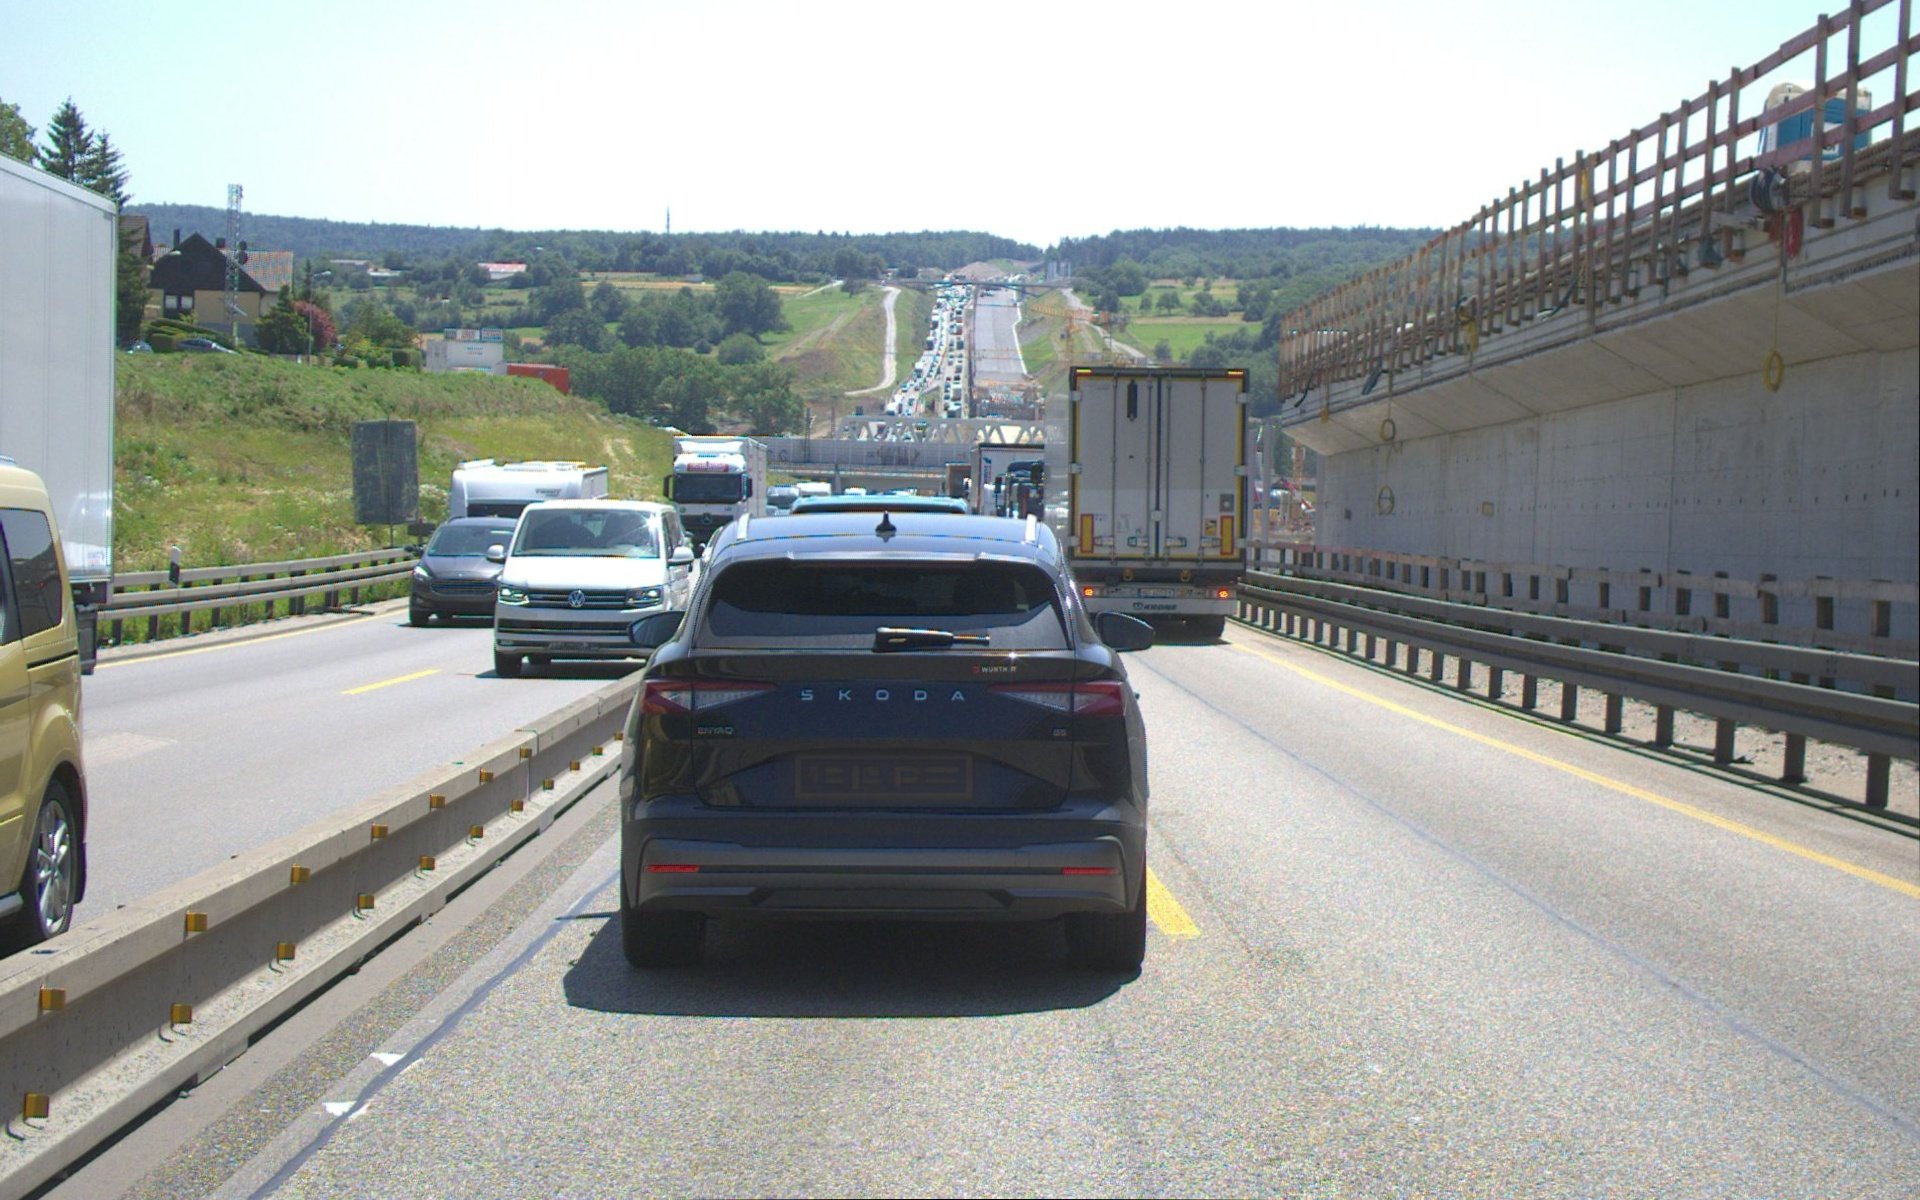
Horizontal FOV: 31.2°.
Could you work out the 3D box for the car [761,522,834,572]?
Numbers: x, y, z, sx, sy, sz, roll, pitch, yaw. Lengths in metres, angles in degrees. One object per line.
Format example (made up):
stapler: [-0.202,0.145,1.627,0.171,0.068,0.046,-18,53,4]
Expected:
car: [-4.471,-1.446,94.881,1.771,1.284,4.000,2,0,0]

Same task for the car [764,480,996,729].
car: [-0.741,0.009,29.424,1.749,1.888,3.756,3,1,-3]

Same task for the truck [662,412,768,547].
truck: [-8.395,-4.082,118.718,2.753,4.212,8.099,5,0,0]

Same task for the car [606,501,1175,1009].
car: [-0.280,0.470,12.851,1.782,1.592,3.755,1,1,-2]

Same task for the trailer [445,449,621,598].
trailer: [-7.755,-1.339,63.025,2.485,2.604,5.867,0,0,0]

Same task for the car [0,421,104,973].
car: [-4.022,0.321,10.427,1.775,1.814,4.434,1,1,-1]

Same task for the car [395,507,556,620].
car: [-7.685,-0.604,54.878,1.877,1.706,4.648,1,1,0]

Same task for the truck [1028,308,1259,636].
truck: [2.739,-1.848,55.011,2.846,4.599,11.811,2,0,0]

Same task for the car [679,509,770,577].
car: [-5.104,-1.221,74.994,1.702,1.436,4.000,0,0,0]

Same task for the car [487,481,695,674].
car: [-4.091,-0.248,38.822,1.862,2.007,4.805,1,0,-1]

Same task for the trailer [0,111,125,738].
trailer: [-7.918,-1.115,19.570,3.220,4.144,13.409,1,1,-1]
